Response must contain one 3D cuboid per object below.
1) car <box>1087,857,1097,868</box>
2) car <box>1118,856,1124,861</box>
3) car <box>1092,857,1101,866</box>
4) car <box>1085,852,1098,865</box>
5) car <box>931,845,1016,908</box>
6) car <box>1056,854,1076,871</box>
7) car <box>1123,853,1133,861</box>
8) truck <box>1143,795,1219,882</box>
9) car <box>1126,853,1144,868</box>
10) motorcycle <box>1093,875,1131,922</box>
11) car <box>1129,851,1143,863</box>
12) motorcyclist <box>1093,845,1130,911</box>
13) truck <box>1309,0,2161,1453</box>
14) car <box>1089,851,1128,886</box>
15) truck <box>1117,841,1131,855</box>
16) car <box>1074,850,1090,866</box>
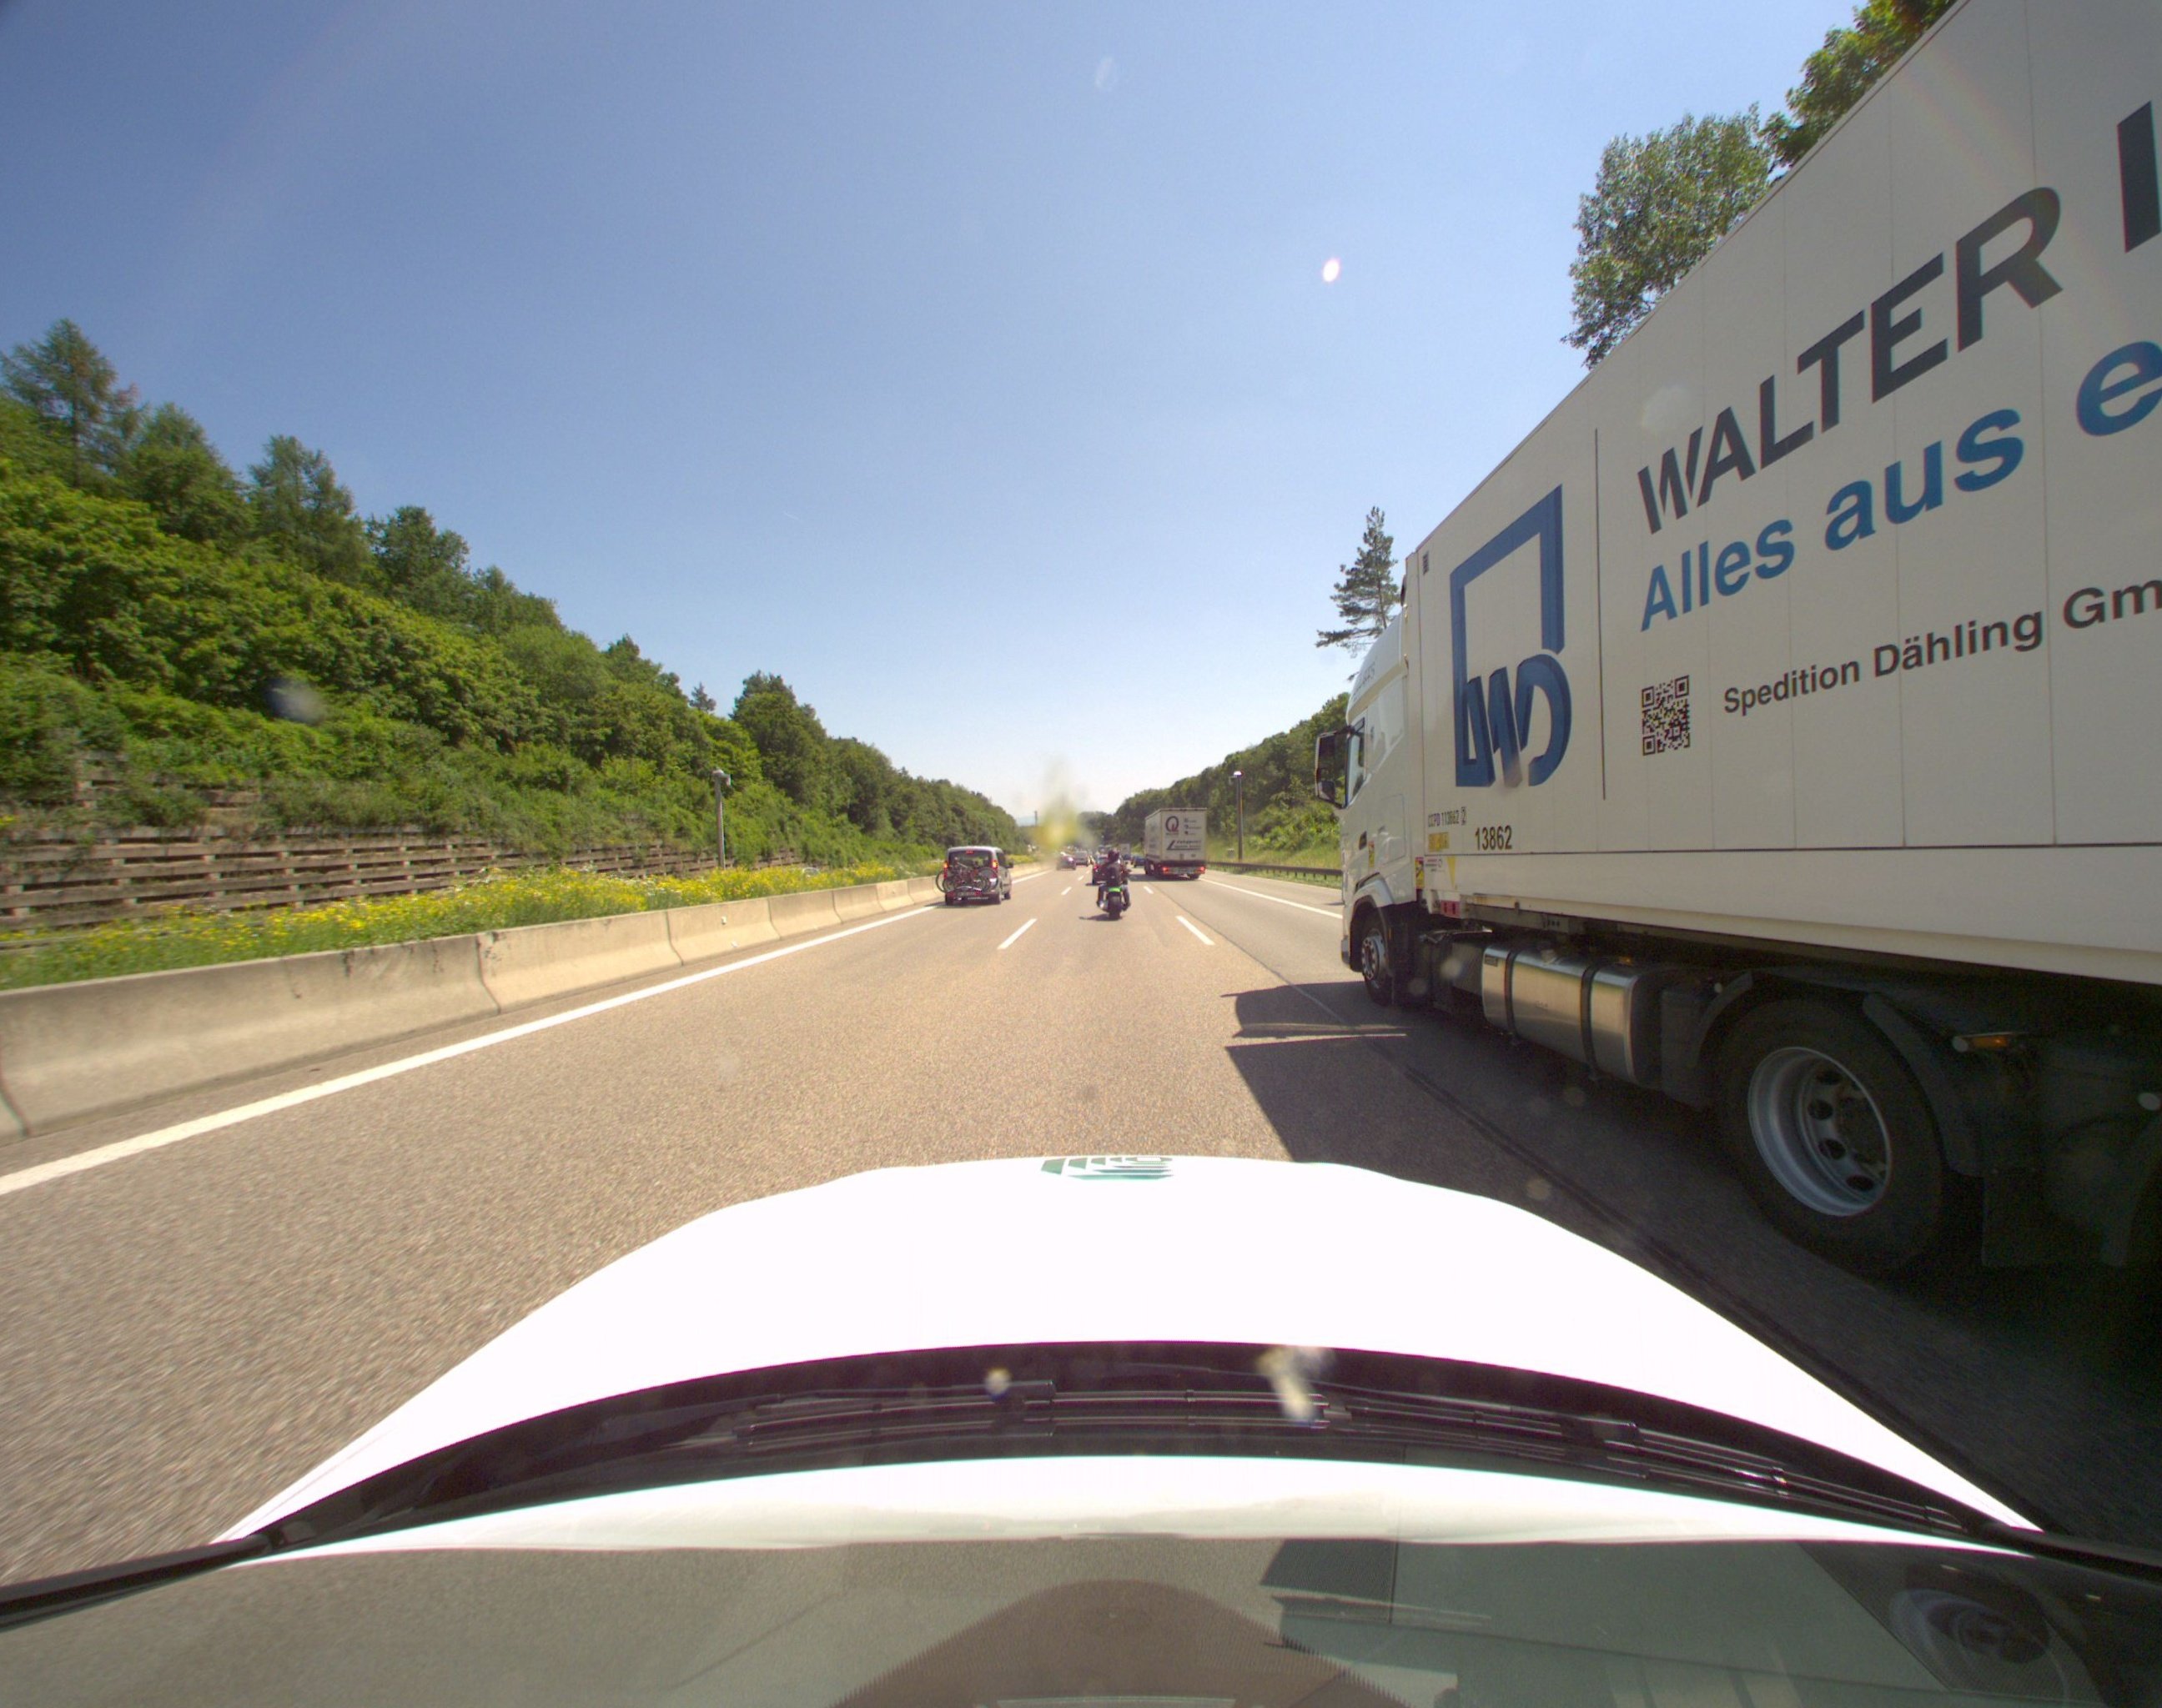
[{"bbox_3d":[2.069,1.525,151.115,1.824,1.810,4.122,-1,1,1],"label":"car"},{"bbox_3d":[12.212,1.357,249.942,1.824,1.558,4.122,-1,1,1],"label":"car"},{"bbox_3d":[3.325,1.571,171.189,1.824,1.810,4.122,-1,1,1],"label":"car"},{"bbox_3d":[1.541,0.636,118.183,1.824,1.810,4.122,-1,1,1],"label":"car"},{"bbox_3d":[-3.379,0.647,26.726,1.891,1.847,5.485,-1,0,1],"label":"car"},{"bbox_3d":[-1.442,0.799,79.096,1.751,1.543,4.397,-1,1,1],"label":"car"},{"bbox_3d":[9.841,0.684,170.672,1.824,1.558,4.122,-1,1,1],"label":"car"},{"bbox_3d":[6.150,-0.999,53.508,3.370,4.717,17.717,0,1,2],"label":"truck"},{"bbox_3d":[5.893,0.681,89.261,1.824,1.558,4.122,-1,1,1],"label":"car"},{"bbox_3d":[0.752,1.041,19.547,0.859,0.982,2.132,-1,0,3],"label":"motorcycle"},{"bbox_3d":[7.872,0.399,116.060,1.824,1.558,4.122,-1,1,1],"label":"car"},{"bbox_3d":[0.731,0.562,19.466,0.852,1.515,0.914,-1,0,2],"label":"motorcyclist"},{"bbox_3d":[3.991,-0.672,4.831,2.669,4.059,10.632,-1,1,2],"label":"truck"},{"bbox_3d":[1.383,0.686,41.360,1.839,1.557,4.441,-1,1,1],"label":"car"},{"bbox_3d":[10.236,-1.513,193.974,3.056,3.346,9.657,0,1,2],"label":"truck"},{"bbox_3d":[0.144,0.476,101.263,1.824,1.810,4.122,-1,1,1],"label":"car"}]
